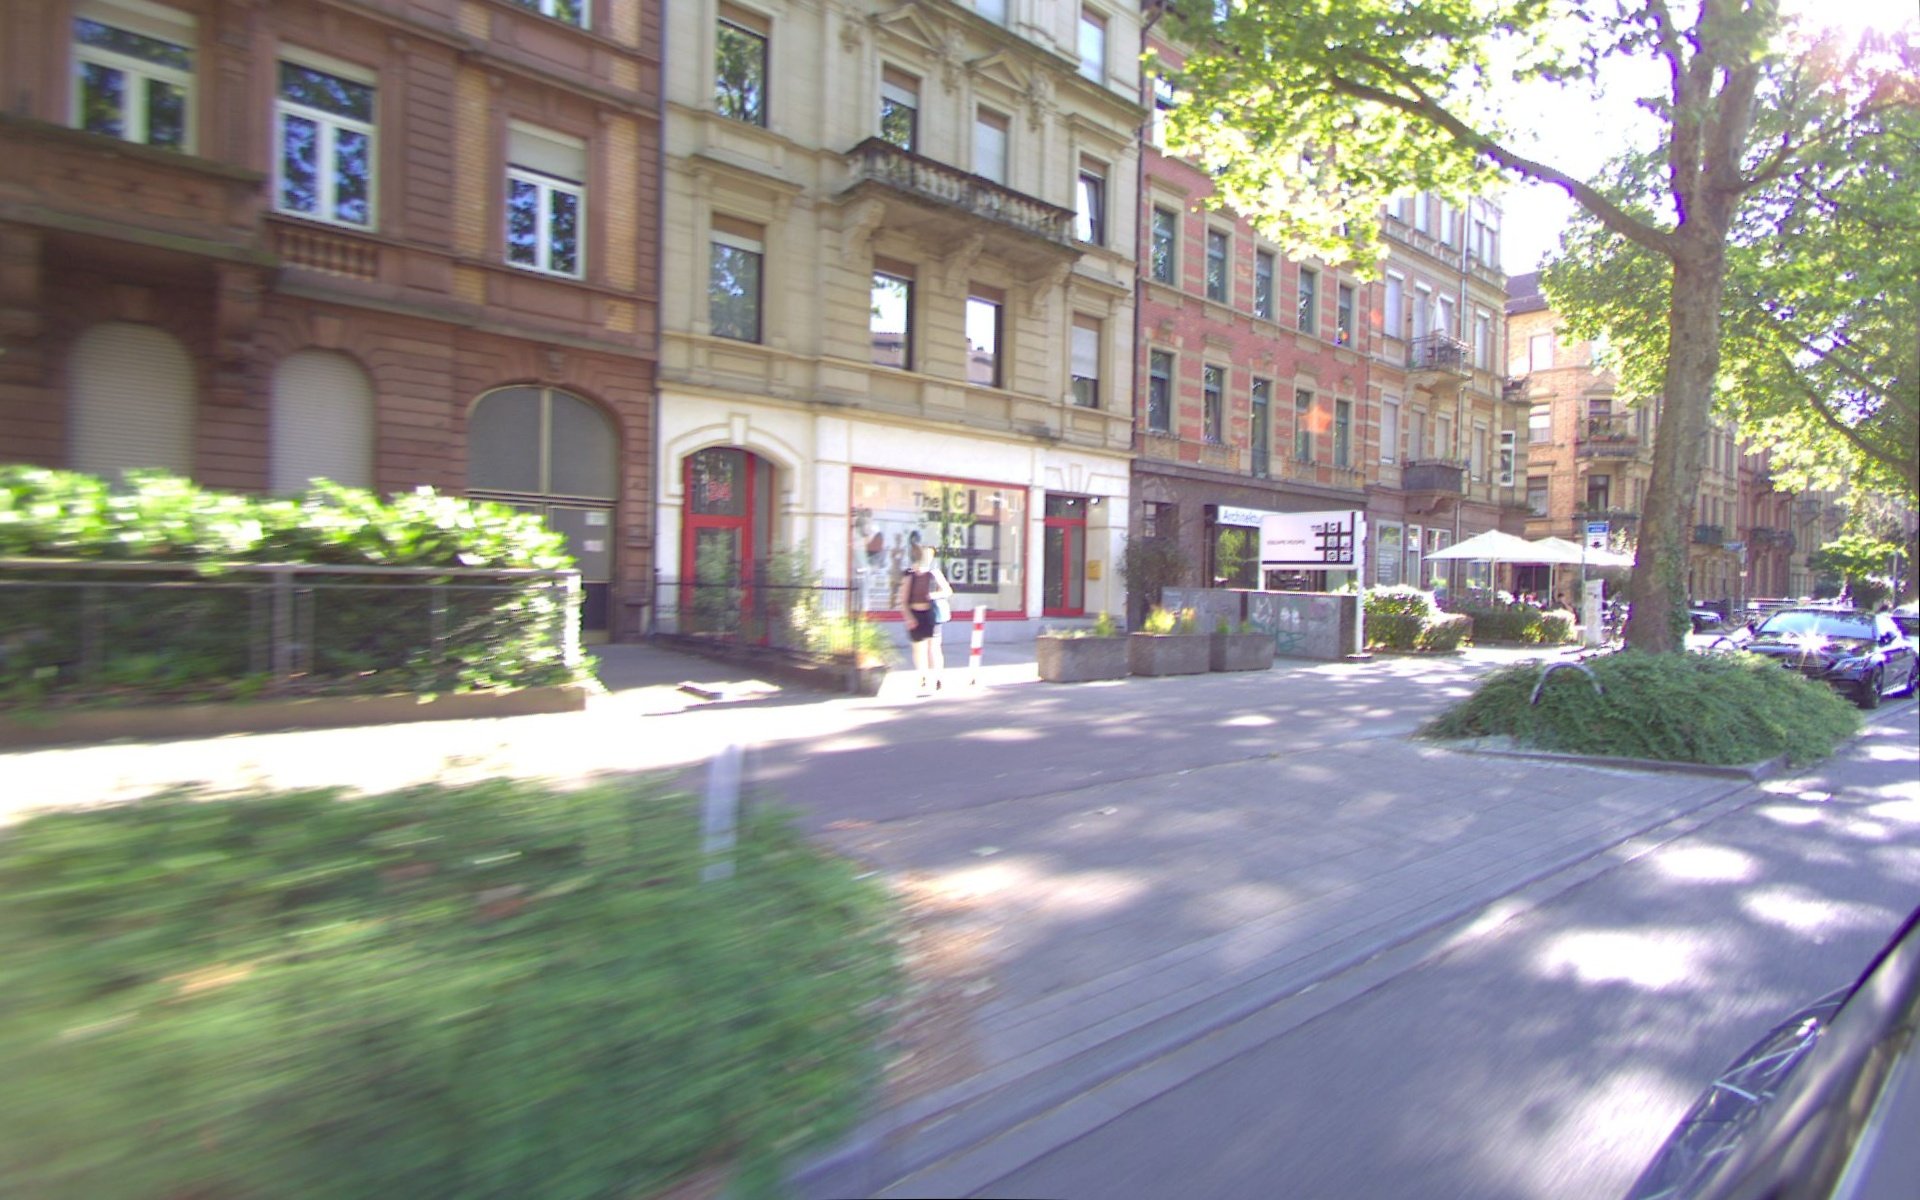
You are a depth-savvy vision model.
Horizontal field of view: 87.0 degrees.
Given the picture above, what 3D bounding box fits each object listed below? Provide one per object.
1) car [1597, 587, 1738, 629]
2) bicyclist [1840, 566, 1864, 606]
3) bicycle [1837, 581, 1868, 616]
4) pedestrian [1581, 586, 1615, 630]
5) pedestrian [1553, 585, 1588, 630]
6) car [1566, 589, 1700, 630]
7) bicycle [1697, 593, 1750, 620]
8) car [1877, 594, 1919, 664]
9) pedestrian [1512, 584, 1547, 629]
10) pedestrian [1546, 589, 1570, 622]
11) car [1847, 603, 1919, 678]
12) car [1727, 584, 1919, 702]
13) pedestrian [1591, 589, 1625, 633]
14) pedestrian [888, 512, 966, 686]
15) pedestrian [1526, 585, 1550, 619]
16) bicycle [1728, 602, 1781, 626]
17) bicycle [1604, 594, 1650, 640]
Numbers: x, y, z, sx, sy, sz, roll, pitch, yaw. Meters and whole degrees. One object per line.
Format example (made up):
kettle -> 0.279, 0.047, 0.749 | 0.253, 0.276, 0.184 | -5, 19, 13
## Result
car -> 29.677, 0.297, 42.554 | 1.891, 1.567, 4.605 | 0, 1, -45
bicyclist -> 31.282, -0.480, 35.481 | 0.633, 1.398, 0.543 | 2, -2, -42
bicycle -> 31.283, -0.046, 35.474 | 2.187, 1.193, 0.561 | 1, -1, -42
pedestrian -> 19.383, 0.228, 30.754 | 0.651, 1.316, 0.714 | 0, 1, -41
pedestrian -> 18.399, 0.211, 30.503 | 0.651, 1.316, 0.714 | 0, 1, -40
car -> 25.911, 0.364, 39.064 | 1.713, 1.382, 3.992 | 2, 0, -43
bicycle -> 35.352, 0.275, 46.881 | 0.467, 1.168, 1.868 | 1, 1, -36
car -> 22.803, 0.644, 23.420 | 4.565, 1.496, 1.806 | 0, 1, -41
pedestrian -> 17.060, 0.176, 30.311 | 0.651, 1.316, 0.714 | 0, 1, -39
pedestrian -> 20.587, 0.185, 34.841 | 0.517, 1.116, 0.557 | 0, 1, -41
car -> 19.051, 0.765, 19.907 | 3.929, 1.343, 1.834 | 0, 1, -40
car -> 13.650, 0.564, 15.679 | 4.718, 1.556, 1.736 | 0, 1, -39
pedestrian -> 20.182, 0.338, 31.506 | 0.651, 1.316, 0.714 | 0, 1, -41
pedestrian -> -0.406, -0.020, 12.311 | 0.622, 2.039, 0.674 | 1, 1, -40
pedestrian -> 20.219, 0.064, 35.414 | 0.517, 1.152, 0.557 | 0, 1, -41
bicycle -> 32.635, 0.573, 41.582 | 1.688, 0.928, 0.594 | 2, 1, 39
bicycle -> 17.836, 0.440, 27.034 | 1.862, 1.157, 0.476 | 0, 3, -41
